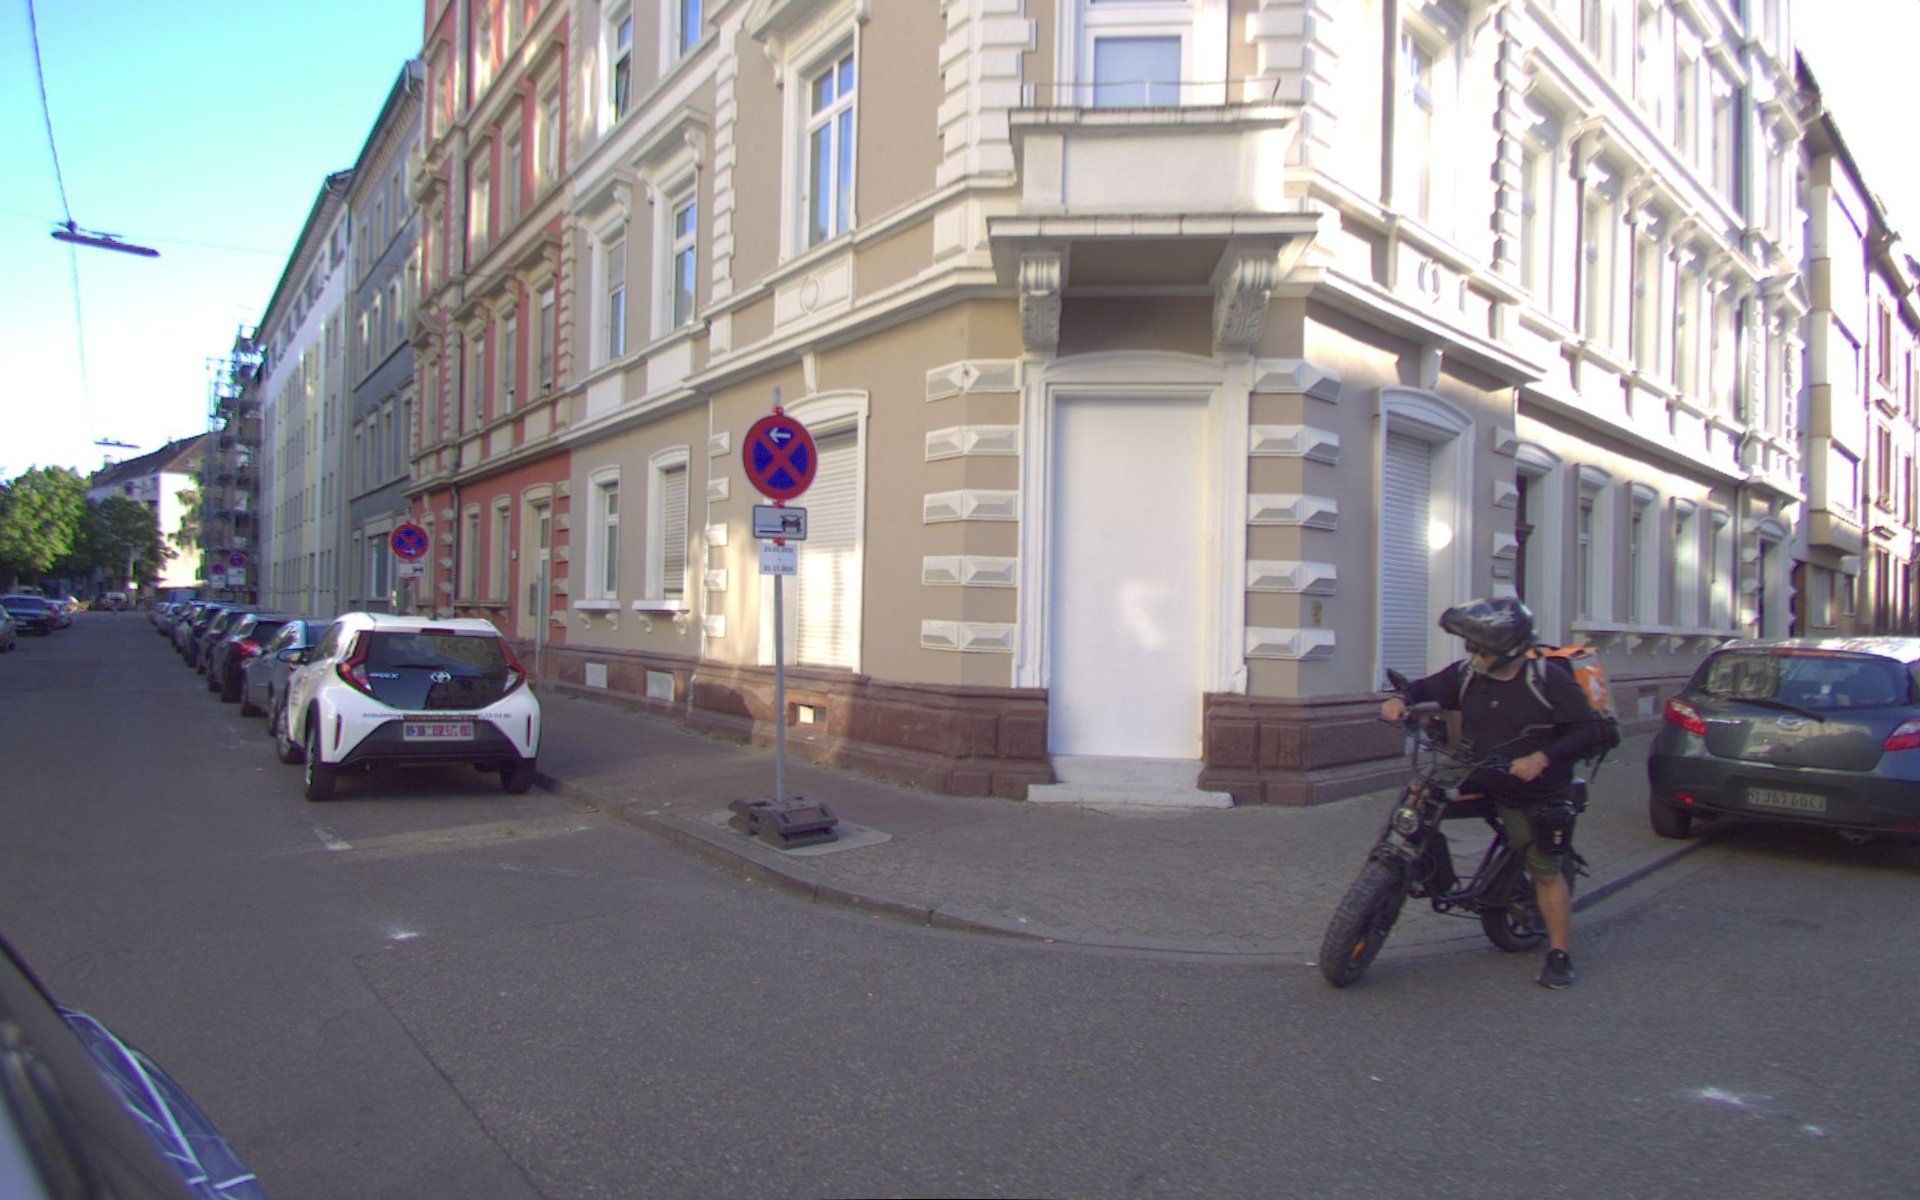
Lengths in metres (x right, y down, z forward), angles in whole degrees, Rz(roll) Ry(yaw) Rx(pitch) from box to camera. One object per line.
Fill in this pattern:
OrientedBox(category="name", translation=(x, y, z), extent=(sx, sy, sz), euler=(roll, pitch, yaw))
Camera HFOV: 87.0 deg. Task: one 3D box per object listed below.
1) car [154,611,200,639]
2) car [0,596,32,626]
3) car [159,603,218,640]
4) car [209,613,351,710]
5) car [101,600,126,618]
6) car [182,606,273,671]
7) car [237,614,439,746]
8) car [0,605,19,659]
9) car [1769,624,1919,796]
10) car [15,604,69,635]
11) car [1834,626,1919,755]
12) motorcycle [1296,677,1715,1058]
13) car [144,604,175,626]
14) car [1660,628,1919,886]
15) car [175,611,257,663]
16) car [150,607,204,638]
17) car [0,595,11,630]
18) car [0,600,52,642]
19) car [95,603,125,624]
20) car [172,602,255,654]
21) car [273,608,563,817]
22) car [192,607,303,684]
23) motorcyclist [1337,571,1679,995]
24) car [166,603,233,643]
OrientedBox(category="car", translation=(-47.852, 1.497, 61.799), extent=(1.969, 1.597, 4.500), euler=(1, -1, -41))
OrientedBox(category="car", translation=(-66.503, 0.750, 70.951), extent=(1.969, 2.029, 4.006), euler=(2, -1, -41))
OrientedBox(category="car", translation=(-35.149, 0.957, 46.089), extent=(1.968, 1.588, 4.157), euler=(2, -1, -39))
OrientedBox(category="car", translation=(-11.828, 1.020, 17.513), extent=(1.565, 1.426, 3.919), euler=(7, -5, -39))
OrientedBox(category="car", translation=(-90.394, 0.968, 108.151), extent=(1.968, 1.807, 4.007), euler=(2, -1, -39))
OrientedBox(category="car", translation=(-18.949, 0.936, 26.108), extent=(1.573, 1.534, 4.437), euler=(1, -1, -40))
OrientedBox(category="car", translation=(-8.309, 0.975, 13.368), extent=(1.589, 1.439, 3.968), euler=(6, -4, -40))
OrientedBox(category="car", translation=(-28.804, 0.889, 29.475), extent=(1.828, 1.500, 4.006), euler=(2, -1, -40))
OrientedBox(category="car", translation=(10.204, 1.064, 10.819), extent=(4.030, 1.572, 1.837), euler=(2, -1, -42))
OrientedBox(category="car", translation=(-47.104, 0.967, 51.974), extent=(1.874, 1.530, 4.230), euler=(2, -1, -40))
OrientedBox(category="car", translation=(13.498, 1.165, 13.704), extent=(4.030, 1.572, 2.012), euler=(2, -1, -42))
OrientedBox(category="motorcycle", translation=(2.384, 1.016, 4.406), extent=(1.669, 1.259, 0.809), euler=(0, -2, -30))
OrientedBox(category="car", translation=(-68.749, 1.277, 86.916), extent=(1.968, 1.807, 4.007), euler=(2, -1, -39))
OrientedBox(category="car", translation=(6.565, 0.965, 7.481), extent=(1.688, 1.491, 3.537), euler=(0, -1, 45))
OrientedBox(category="car", translation=(-22.648, 1.065, 30.765), extent=(1.637, 1.440, 4.360), euler=(1, -1, -41))
OrientedBox(category="car", translation=(-38.712, 1.099, 50.018), extent=(1.968, 1.457, 4.007), euler=(2, -1, -39))
OrientedBox(category="car", translation=(-58.635, 0.741, 60.914), extent=(1.969, 2.029, 4.006), euler=(2, -1, -41))
OrientedBox(category="car", translation=(-39.288, 0.866, 42.361), extent=(1.828, 1.671, 4.005), euler=(2, -1, -41))
OrientedBox(category="car", translation=(-76.372, 1.178, 90.994), extent=(1.968, 1.807, 4.007), euler=(2, -1, -39))
OrientedBox(category="car", translation=(-25.754, 0.933, 34.849), extent=(1.969, 1.662, 4.500), euler=(1, -1, -41))
OrientedBox(category="car", translation=(-5.215, 0.911, 9.476), extent=(1.662, 1.507, 3.852), euler=(7, -4, -38))
OrientedBox(category="car", translation=(-15.729, 0.959, 22.257), extent=(1.514, 1.510, 4.202), euler=(4, -3, -41))
OrientedBox(category="motorcyclist", translation=(2.363, 0.692, 4.411), extent=(0.982, 1.580, 0.877), euler=(0, -2, -30))
OrientedBox(category="car", translation=(-32.024, 0.946, 42.560), extent=(1.969, 1.597, 4.500), euler=(1, -1, -41))
